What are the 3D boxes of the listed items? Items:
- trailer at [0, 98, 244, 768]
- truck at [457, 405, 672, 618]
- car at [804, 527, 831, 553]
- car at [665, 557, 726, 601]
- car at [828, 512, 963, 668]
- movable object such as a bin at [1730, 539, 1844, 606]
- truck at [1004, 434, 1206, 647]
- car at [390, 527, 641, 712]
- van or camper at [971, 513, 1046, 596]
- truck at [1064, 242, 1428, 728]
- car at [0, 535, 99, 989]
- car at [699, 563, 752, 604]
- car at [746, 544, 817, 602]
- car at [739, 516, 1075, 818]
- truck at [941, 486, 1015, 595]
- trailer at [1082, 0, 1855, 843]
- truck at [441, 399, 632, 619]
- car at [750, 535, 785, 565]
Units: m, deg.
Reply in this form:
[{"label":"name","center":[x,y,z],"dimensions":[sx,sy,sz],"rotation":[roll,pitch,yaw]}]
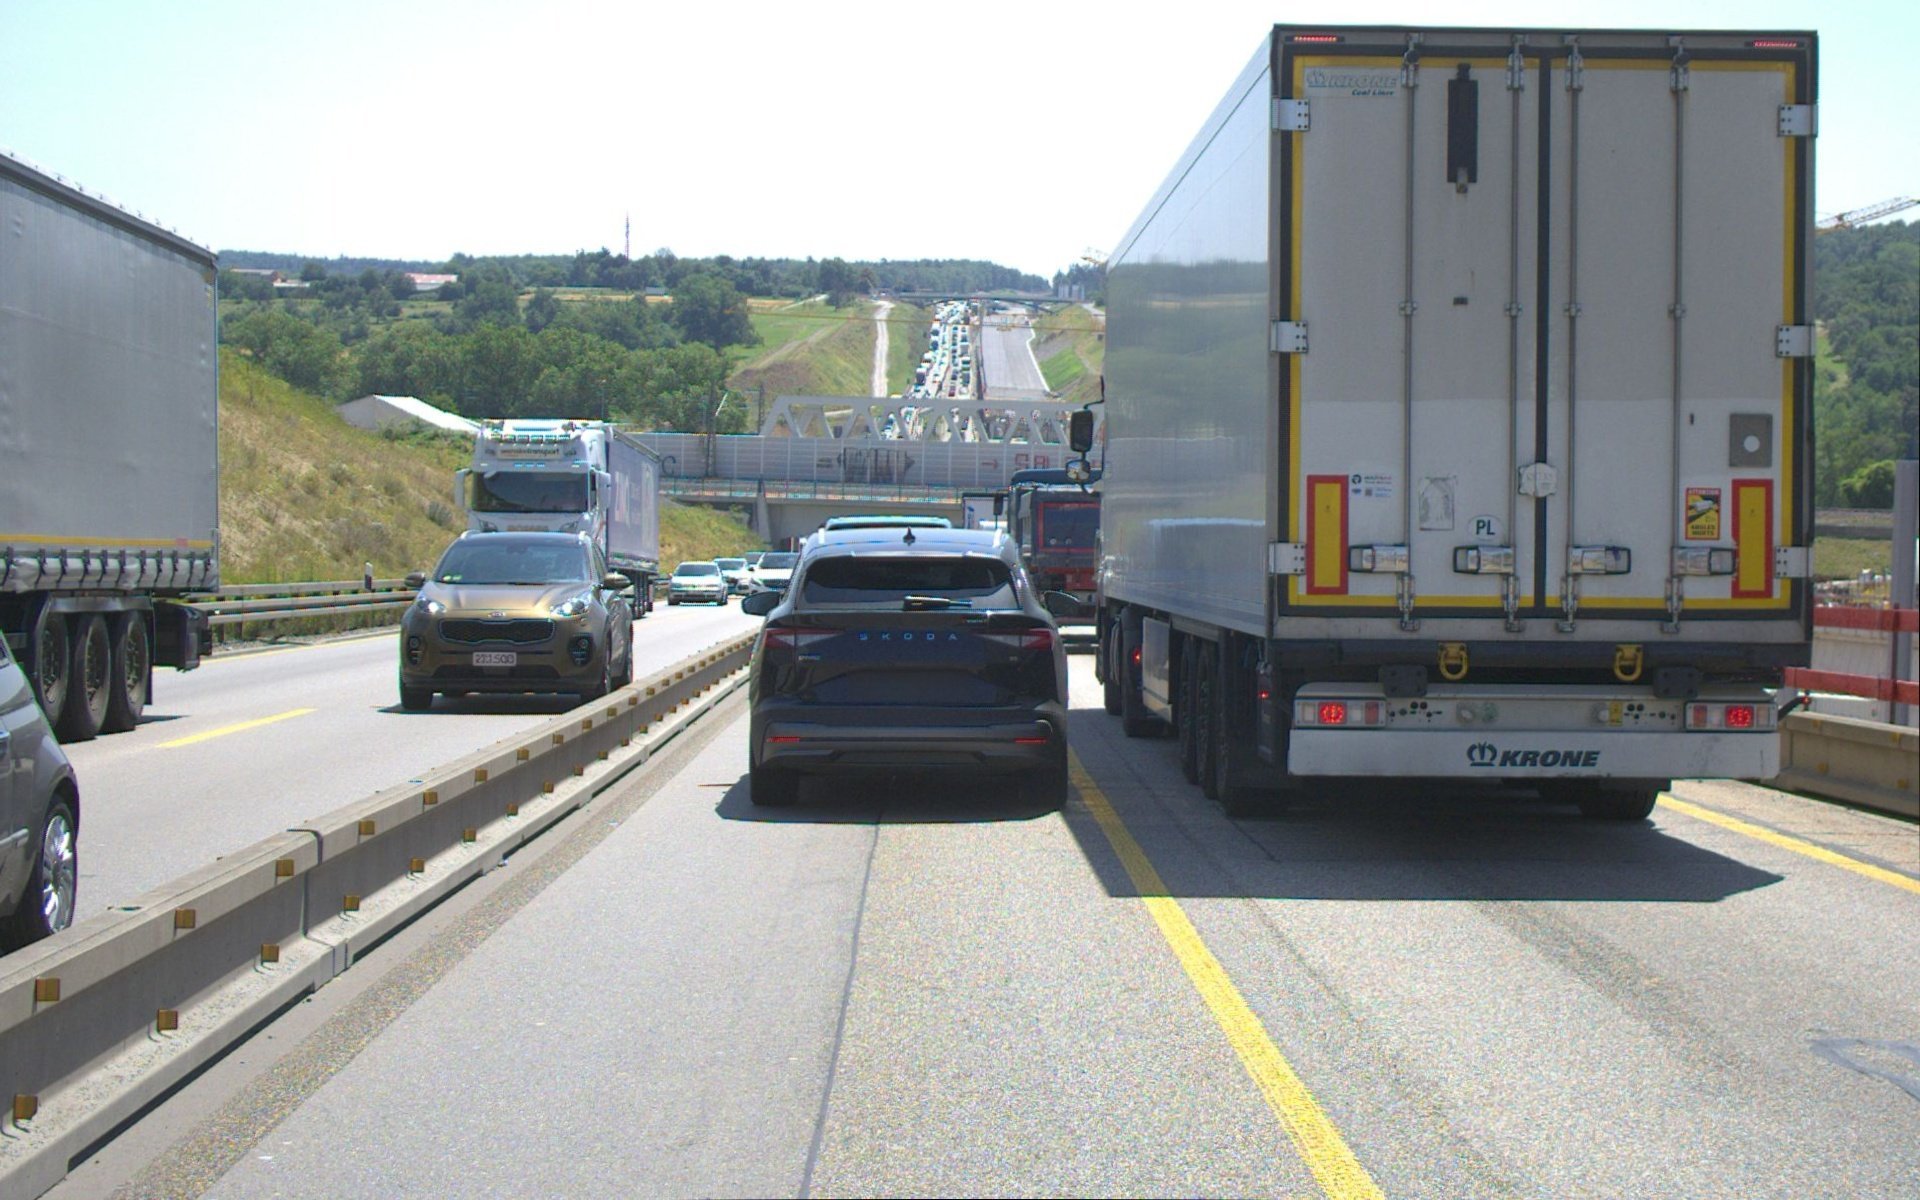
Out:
[{"label":"trailer","center":[-7.560,-1.096,23.008],"dimensions":[2.810,4.272,14.036],"rotation":[1,1,-1]},{"label":"truck","center":[-8.350,-1.832,74.534],"dimensions":[3.243,4.145,13.979],"rotation":[0,1,-1]},{"label":"car","center":[-9.956,-4.181,240.236],"dimensions":[1.732,1.787,3.581],"rotation":[1,1,-1]},{"label":"car","center":[-8.378,-0.681,109.195],"dimensions":[1.701,1.374,3.967],"rotation":[1,1,-1]},{"label":"car","center":[-0.734,-0.145,41.084],"dimensions":[1.475,1.789,3.297],"rotation":[0,1,1]},{"label":"movable object such as a bin","center":[37.470,-1.248,156.032],"dimensions":[2.887,2.899,9.479],"rotation":[1,1,0]},{"label":"truck","center":[2.225,-0.930,57.267],"dimensions":[2.814,3.124,12.838],"rotation":[0,0,0]},{"label":"car","center":[-4.071,0.135,32.051],"dimensions":[1.848,1.581,4.174],"rotation":[1,1,-1]},{"label":"van or camper","center":[1.341,-1.293,96.960],"dimensions":[1.993,2.237,4.000],"rotation":[2,1,0]},{"label":"truck","center":[2.468,-0.979,31.224],"dimensions":[2.776,4.044,4.905],"rotation":[0,0,-1]},{"label":"car","center":[-3.923,0.523,10.797],"dimensions":[1.628,1.474,3.380],"rotation":[1,1,-1]},{"label":"car","center":[-9.368,-0.692,137.609],"dimensions":[1.899,1.579,4.514],"rotation":[1,1,-1]},{"label":"car","center":[-5.206,-0.800,100.770],"dimensions":[1.812,1.632,4.362],"rotation":[0,1,0]},{"label":"car","center":[-0.304,0.337,20.336],"dimensions":[1.800,1.615,3.298],"rotation":[1,1,-1]},{"label":"truck","center":[0.640,-2.264,130.489],"dimensions":[2.517,3.946,7.600],"rotation":[2,1,-1]},{"label":"trailer","center":[2.634,-0.936,23.136],"dimensions":[2.801,4.044,14.117],"rotation":[0,0,-1]},{"label":"truck","center":[-8.241,-1.748,67.344],"dimensions":[3.239,4.145,4.247],"rotation":[0,1,-1]},{"label":"car","center":[-9.183,-2.400,164.331],"dimensions":[1.646,1.411,4.001],"rotation":[0,1,-3]}]
